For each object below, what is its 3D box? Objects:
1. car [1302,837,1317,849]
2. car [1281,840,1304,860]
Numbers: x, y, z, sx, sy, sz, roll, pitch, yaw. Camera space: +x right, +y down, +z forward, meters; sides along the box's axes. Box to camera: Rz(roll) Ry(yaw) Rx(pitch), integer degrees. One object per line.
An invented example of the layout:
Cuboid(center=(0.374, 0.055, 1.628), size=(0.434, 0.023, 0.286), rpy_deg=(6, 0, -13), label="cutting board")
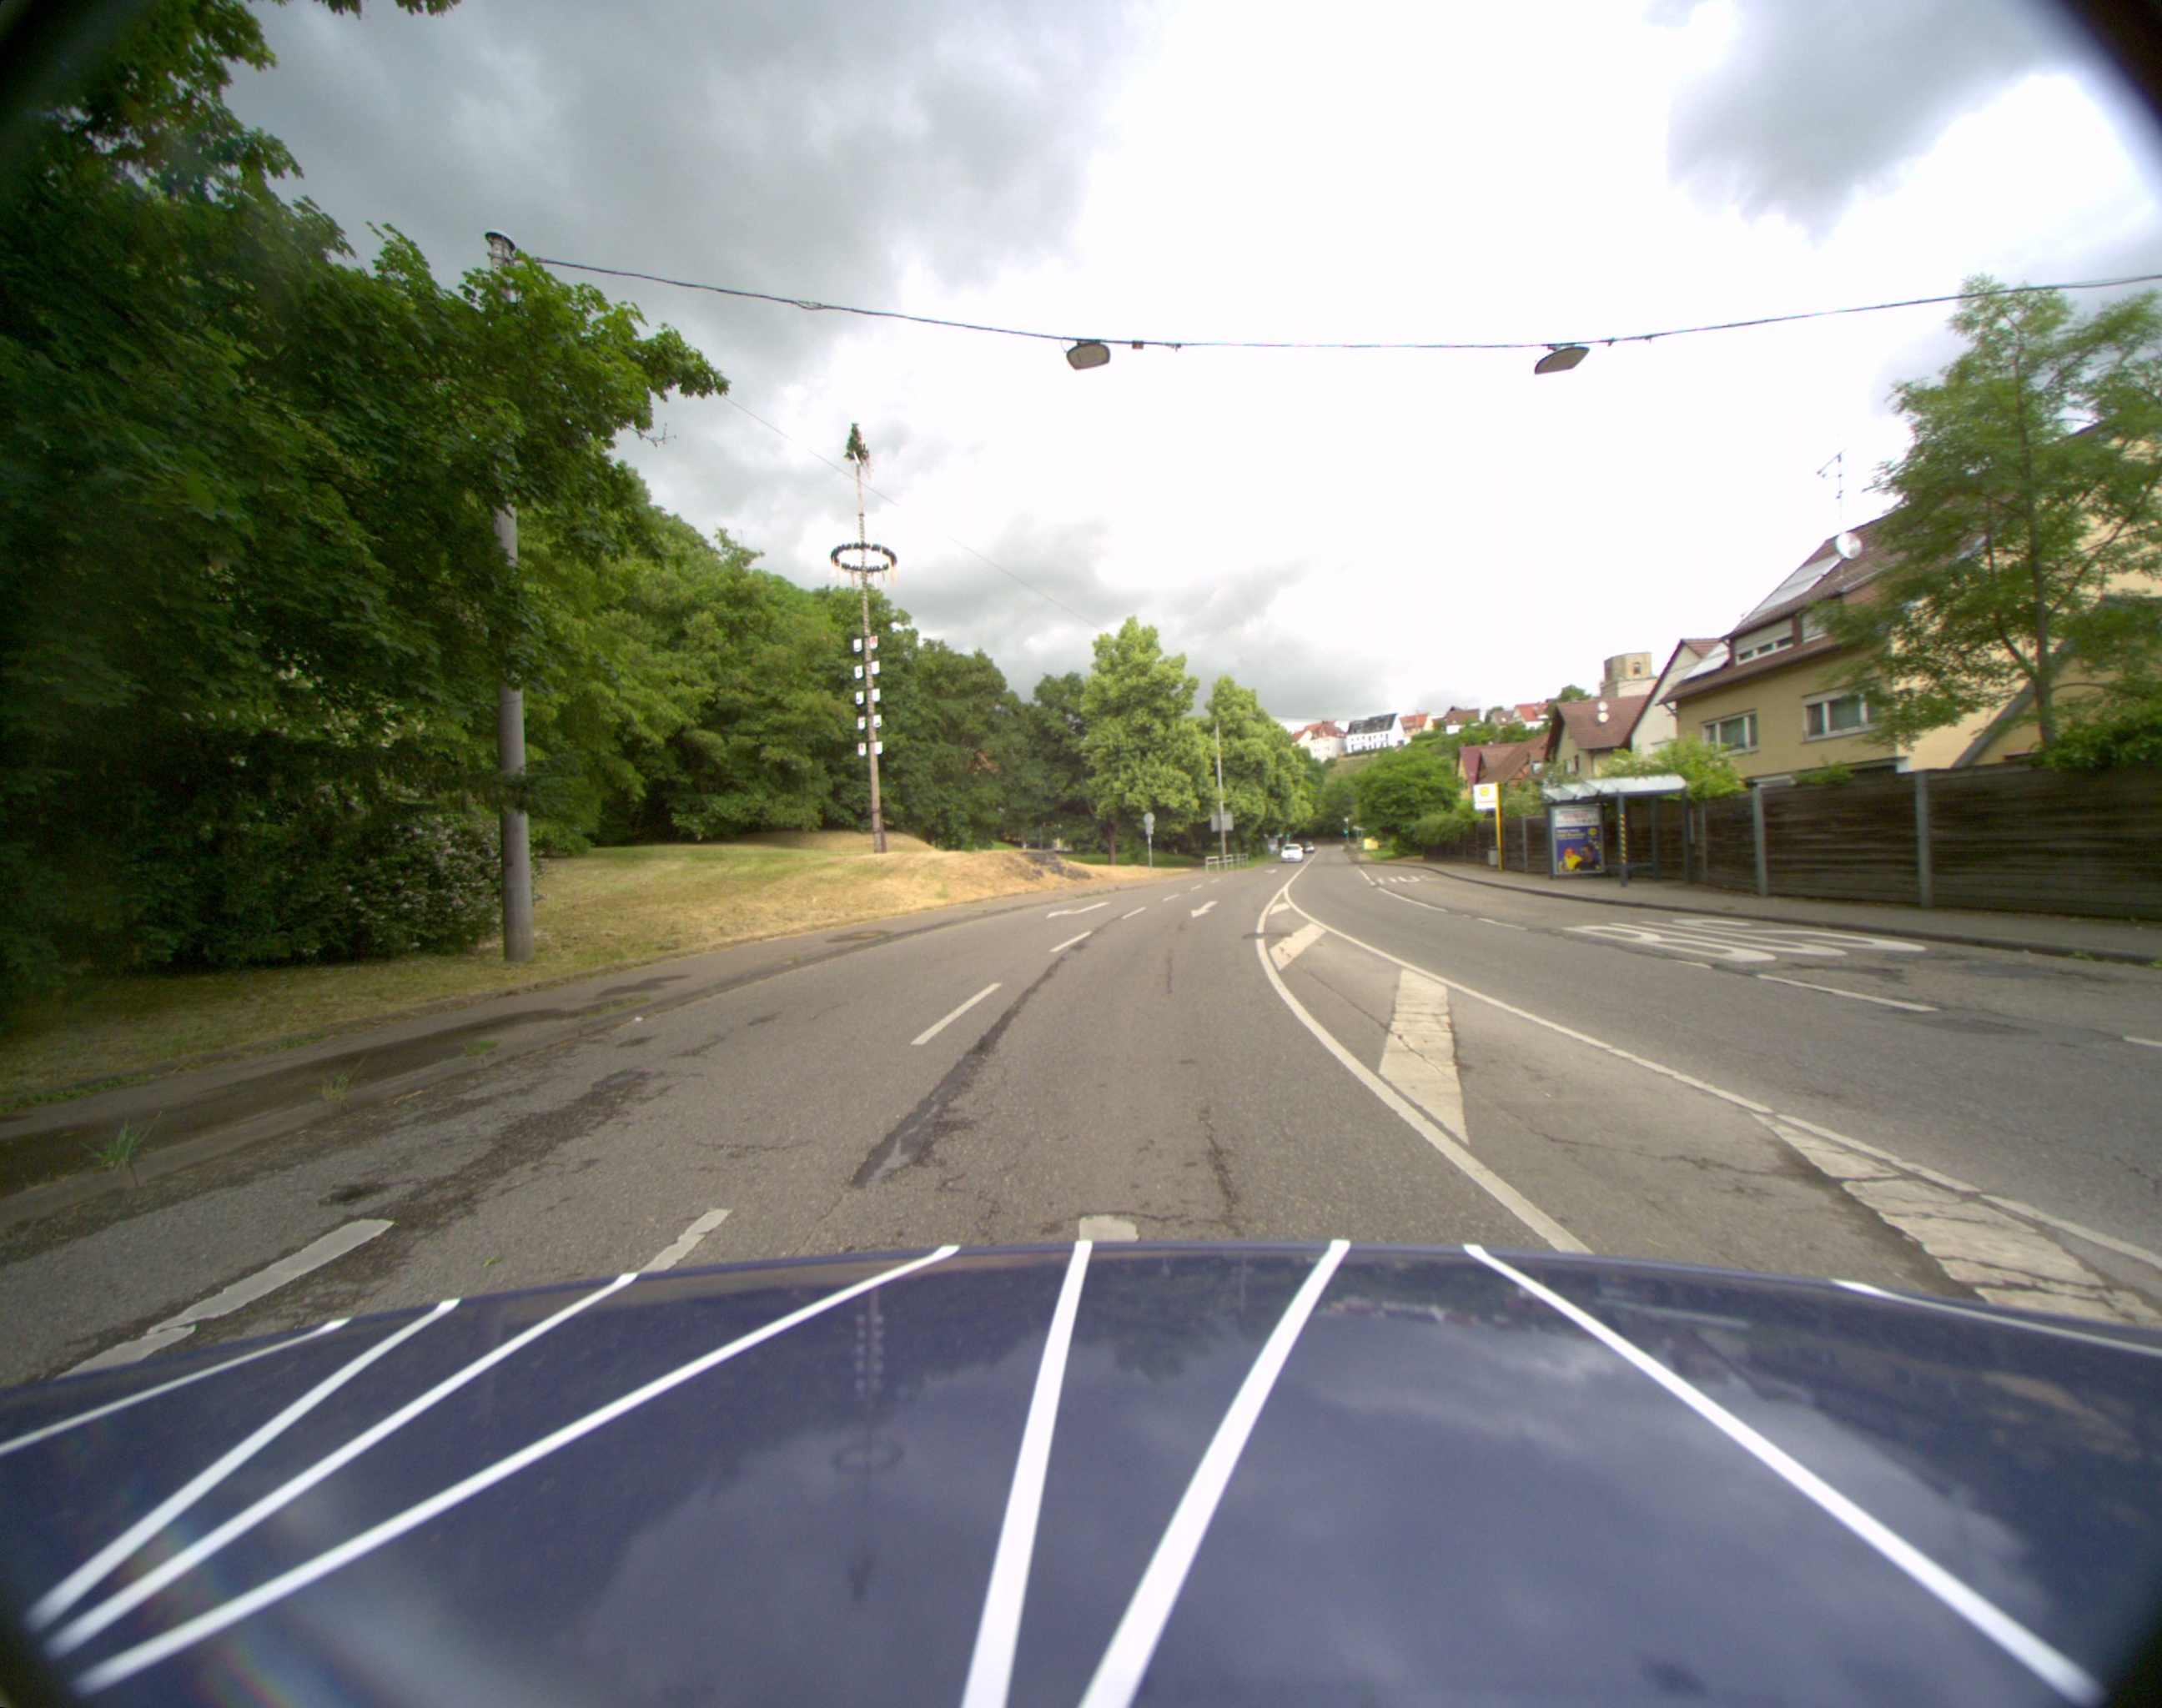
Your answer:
Cuboid(center=(30.784, -1.480, 102.314), size=(1.761, 1.575, 3.687), rpy_deg=(-2, 1, 17), label="car")
Cuboid(center=(17.751, -0.344, 63.647), size=(1.761, 1.516, 3.687), rpy_deg=(-2, 1, 16), label="car")
